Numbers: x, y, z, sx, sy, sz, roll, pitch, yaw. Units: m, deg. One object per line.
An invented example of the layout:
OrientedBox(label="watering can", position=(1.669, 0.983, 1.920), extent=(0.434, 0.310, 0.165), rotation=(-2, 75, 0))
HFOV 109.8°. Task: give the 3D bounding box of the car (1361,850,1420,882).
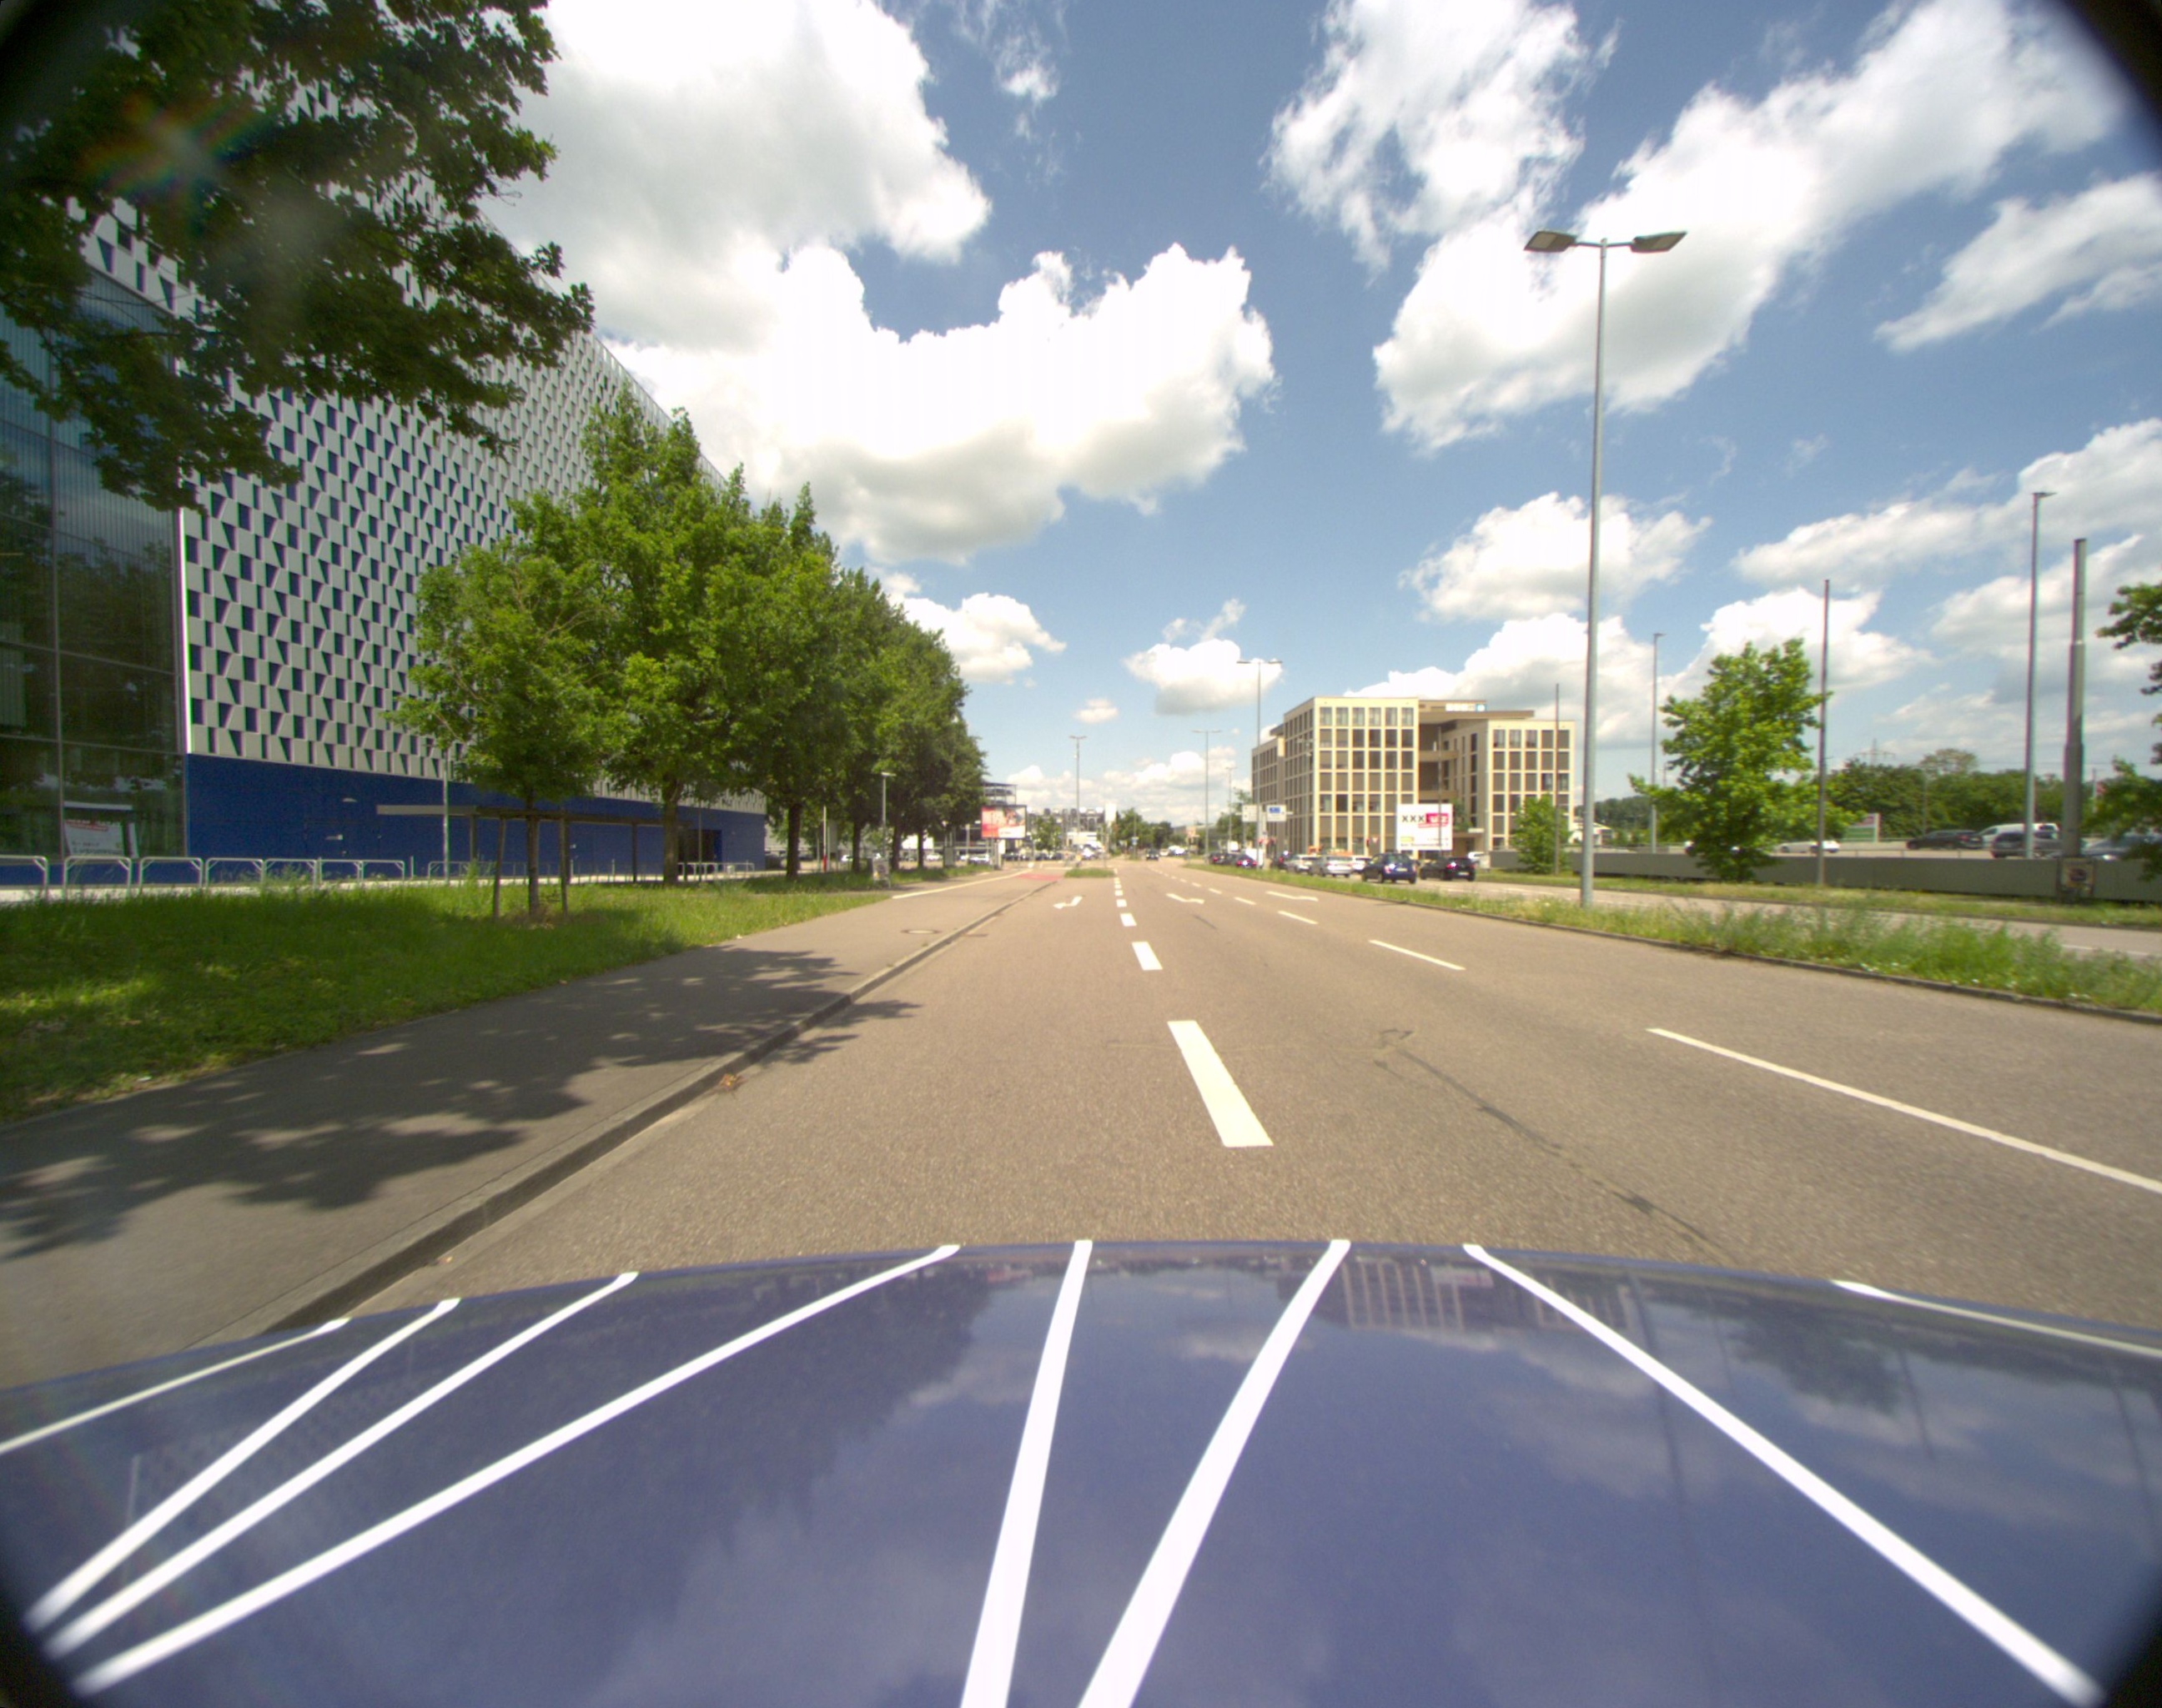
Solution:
OrientedBox(label="car", position=(15.286, 0.552, 37.667), extent=(1.742, 1.466, 3.677), rotation=(1, 1, 6))

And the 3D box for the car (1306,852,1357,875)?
OrientedBox(label="car", position=(15.753, 0.573, 48.021), extent=(1.796, 1.409, 4.675), rotation=(1, 0, 2))

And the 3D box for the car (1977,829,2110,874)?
OrientedBox(label="car", position=(51.085, -0.120, 40.407), extent=(4.359, 2.315, 2.000), rotation=(0, 1, 2))

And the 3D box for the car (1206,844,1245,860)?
OrientedBox(label="car", position=(17.027, -0.224, 89.742), extent=(4.189, 1.718, 1.862), rotation=(-1, 3, -1))

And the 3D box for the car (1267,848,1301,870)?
OrientedBox(label="car", position=(16.444, 0.431, 61.754), extent=(1.796, 1.691, 4.228), rotation=(0, 0, 2))

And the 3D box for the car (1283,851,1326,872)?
OrientedBox(label="car", position=(16.022, 0.526, 54.691), extent=(1.796, 1.393, 4.846), rotation=(1, 0, 2))

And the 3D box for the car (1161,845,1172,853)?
OrientedBox(label="car", position=(21.342, -1.252, 189.626), extent=(2.289, 1.708, 4.483), rotation=(0, 1, 4))

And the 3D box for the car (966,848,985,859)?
OrientedBox(label="car", position=(-15.853, -0.089, 114.620), extent=(1.840, 1.565, 4.002), rotation=(0, 0, 7))

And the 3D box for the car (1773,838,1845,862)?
OrientedBox(label="car", position=(57.258, -0.325, 59.830), extent=(1.855, 1.822, 3.832), rotation=(0, 0, -3))

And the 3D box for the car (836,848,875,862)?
OrientedBox(label="car", position=(-26.317, 0.123, 88.740), extent=(3.998, 1.681, 1.858), rotation=(0, 0, -3))

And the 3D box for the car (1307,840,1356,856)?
OrientedBox(label="car", position=(37.233, -0.851, 113.314), extent=(6.526, 2.314, 2.856), rotation=(0, -2, 7))

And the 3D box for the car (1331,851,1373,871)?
OrientedBox(label="car", position=(20.987, 0.557, 59.068), extent=(1.623, 1.464, 4.358), rotation=(0, 0, -1))

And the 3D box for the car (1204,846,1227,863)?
OrientedBox(label="car", position=(13.353, 0.035, 75.453), extent=(1.795, 1.635, 4.172), rotation=(0, 0, 3))

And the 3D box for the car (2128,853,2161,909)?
OrientedBox(label="car", position=(46.324, 1.109, 31.045), extent=(4.360, 2.315, 2.000), rotation=(0, 1, -1))

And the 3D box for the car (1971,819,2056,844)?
OrientedBox(label="car", position=(72.226, -1.744, 58.941), extent=(1.855, 1.822, 3.833), rotation=(0, 0, -1))

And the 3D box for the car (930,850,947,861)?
OrientedBox(label="car", position=(-21.398, 0.214, 114.195), extent=(1.862, 1.718, 3.759), rotation=(-1, 1, 1))

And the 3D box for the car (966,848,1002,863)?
OrientedBox(label="car", position=(-11.155, 0.137, 87.970), extent=(3.998, 1.681, 1.858), rotation=(0, 0, -3))

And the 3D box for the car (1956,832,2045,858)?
OrientedBox(label="car", position=(67.024, -0.667, 55.462), extent=(1.854, 1.822, 3.833), rotation=(0, 0, 1))

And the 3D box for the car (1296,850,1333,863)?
OrientedBox(label="car", position=(31.140, 0.336, 101.403), extent=(4.309, 1.622, 1.999), rotation=(0, 0, -3))

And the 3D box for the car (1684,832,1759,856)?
OrientedBox(label="car", position=(49.737, -0.743, 59.157), extent=(1.855, 1.822, 4.673), rotation=(0, 0, -1))

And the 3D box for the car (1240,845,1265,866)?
OrientedBox(label="car", position=(17.000, 0.182, 75.292), extent=(1.861, 2.031, 3.577), rotation=(0, 0, 3))

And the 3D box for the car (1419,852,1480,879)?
OrientedBox(label="car", position=(20.911, 0.620, 43.326), extent=(1.623, 1.461, 4.117), rotation=(0, 0, 3))

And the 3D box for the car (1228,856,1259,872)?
OrientedBox(label="car", position=(13.534, 0.797, 63.348), extent=(1.796, 1.243, 4.308), rotation=(0, 0, 2))

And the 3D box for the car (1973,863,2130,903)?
OrientedBox(label="car", position=(40.283, 1.175, 31.617), extent=(3.996, 1.586, 1.850), rotation=(0, 0, 3))
